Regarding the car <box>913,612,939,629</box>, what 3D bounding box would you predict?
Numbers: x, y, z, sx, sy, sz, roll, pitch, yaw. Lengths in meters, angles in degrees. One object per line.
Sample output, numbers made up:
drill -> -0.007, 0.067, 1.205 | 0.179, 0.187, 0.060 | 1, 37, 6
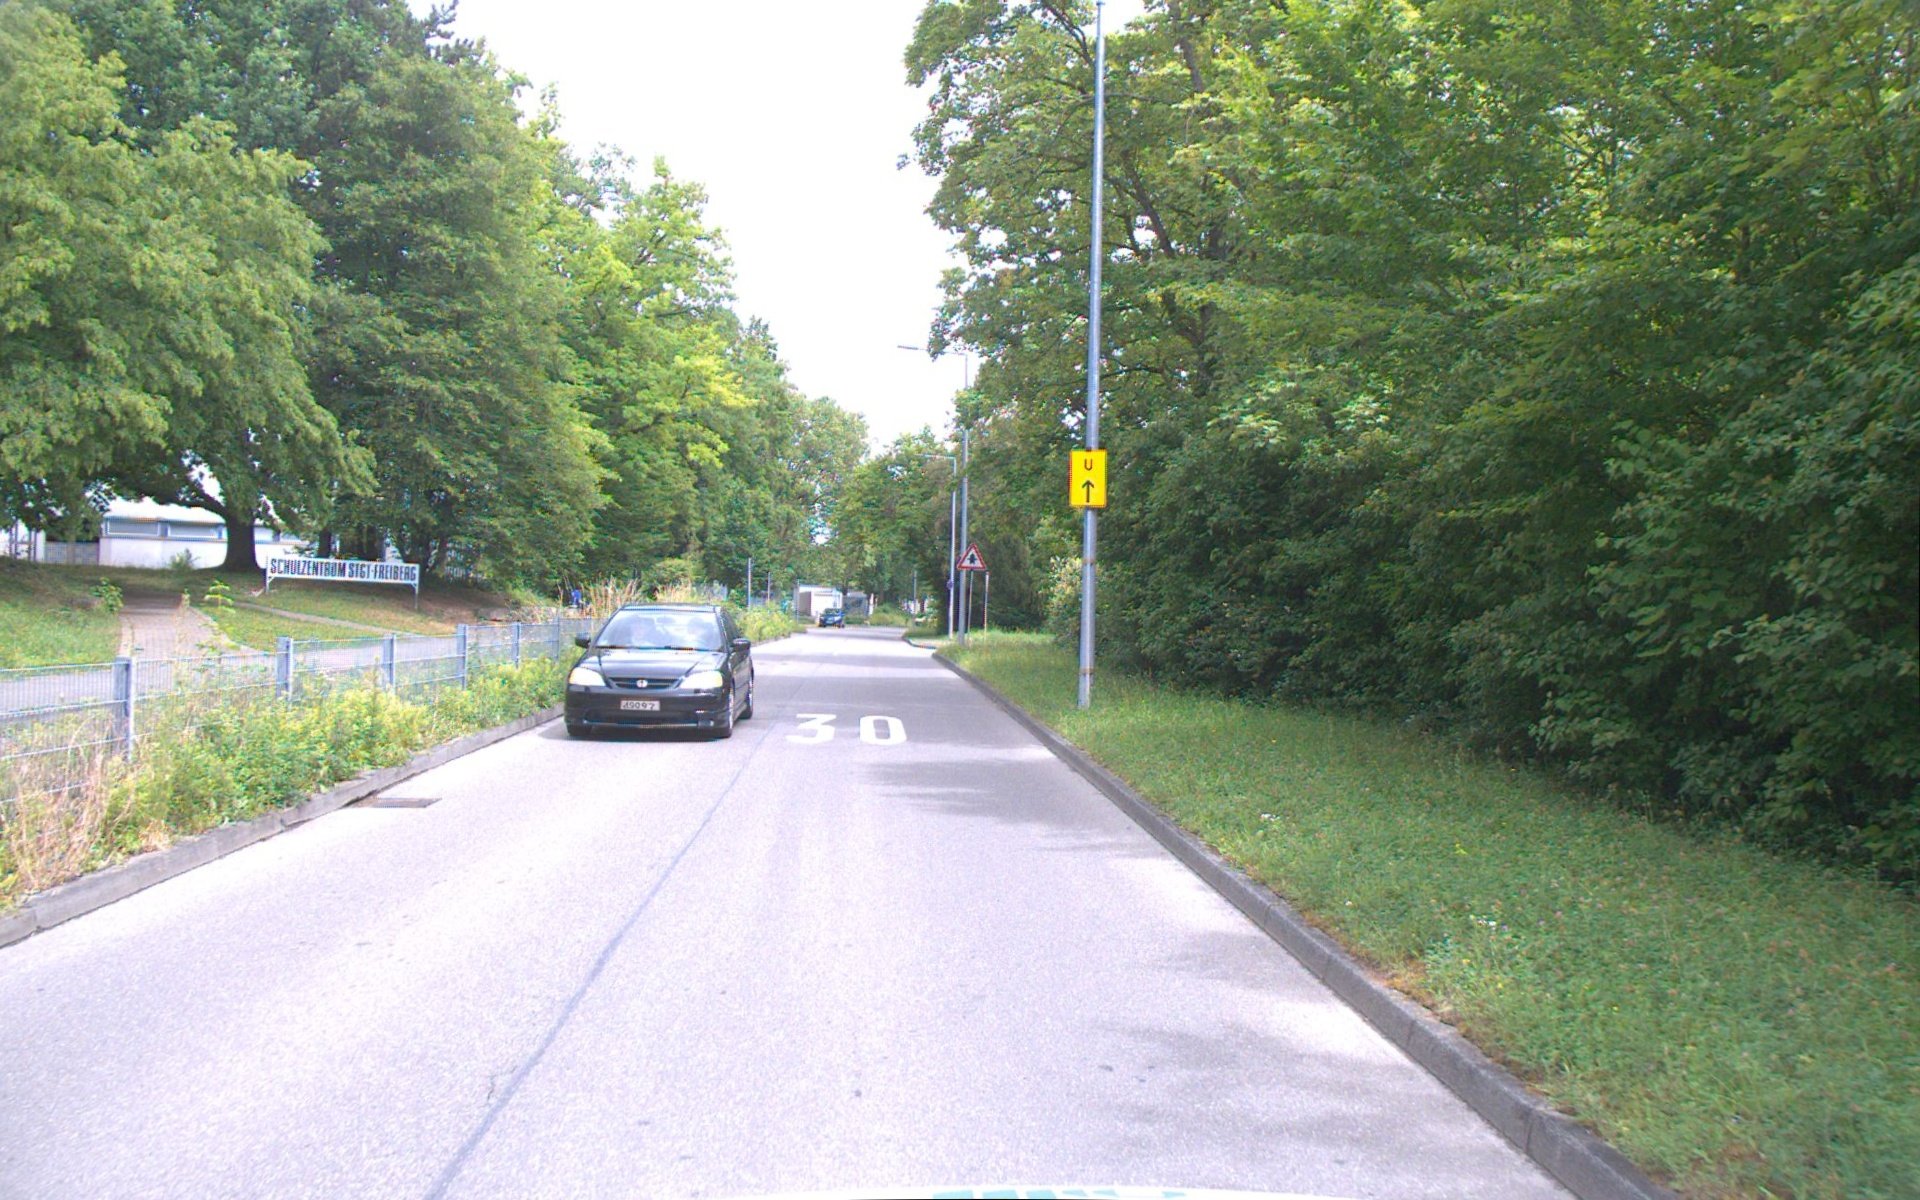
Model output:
car -> -3.398, 2.090, 166.647 | 1.820, 1.518, 4.003 | -1, -3, 11

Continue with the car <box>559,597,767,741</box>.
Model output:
car -> -3.135, 0.670, 18.214 | 1.659, 1.372, 4.093 | 1, 0, -2

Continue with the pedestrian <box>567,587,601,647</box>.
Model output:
pedestrian -> -13.185, 0.601, 58.003 | 0.863, 2.049, 0.862 | -4, -4, 42

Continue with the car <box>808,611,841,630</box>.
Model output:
car -> -10.527, 1.592, 128.694 | 1.937, 1.408, 4.002 | 2, 0, 4
